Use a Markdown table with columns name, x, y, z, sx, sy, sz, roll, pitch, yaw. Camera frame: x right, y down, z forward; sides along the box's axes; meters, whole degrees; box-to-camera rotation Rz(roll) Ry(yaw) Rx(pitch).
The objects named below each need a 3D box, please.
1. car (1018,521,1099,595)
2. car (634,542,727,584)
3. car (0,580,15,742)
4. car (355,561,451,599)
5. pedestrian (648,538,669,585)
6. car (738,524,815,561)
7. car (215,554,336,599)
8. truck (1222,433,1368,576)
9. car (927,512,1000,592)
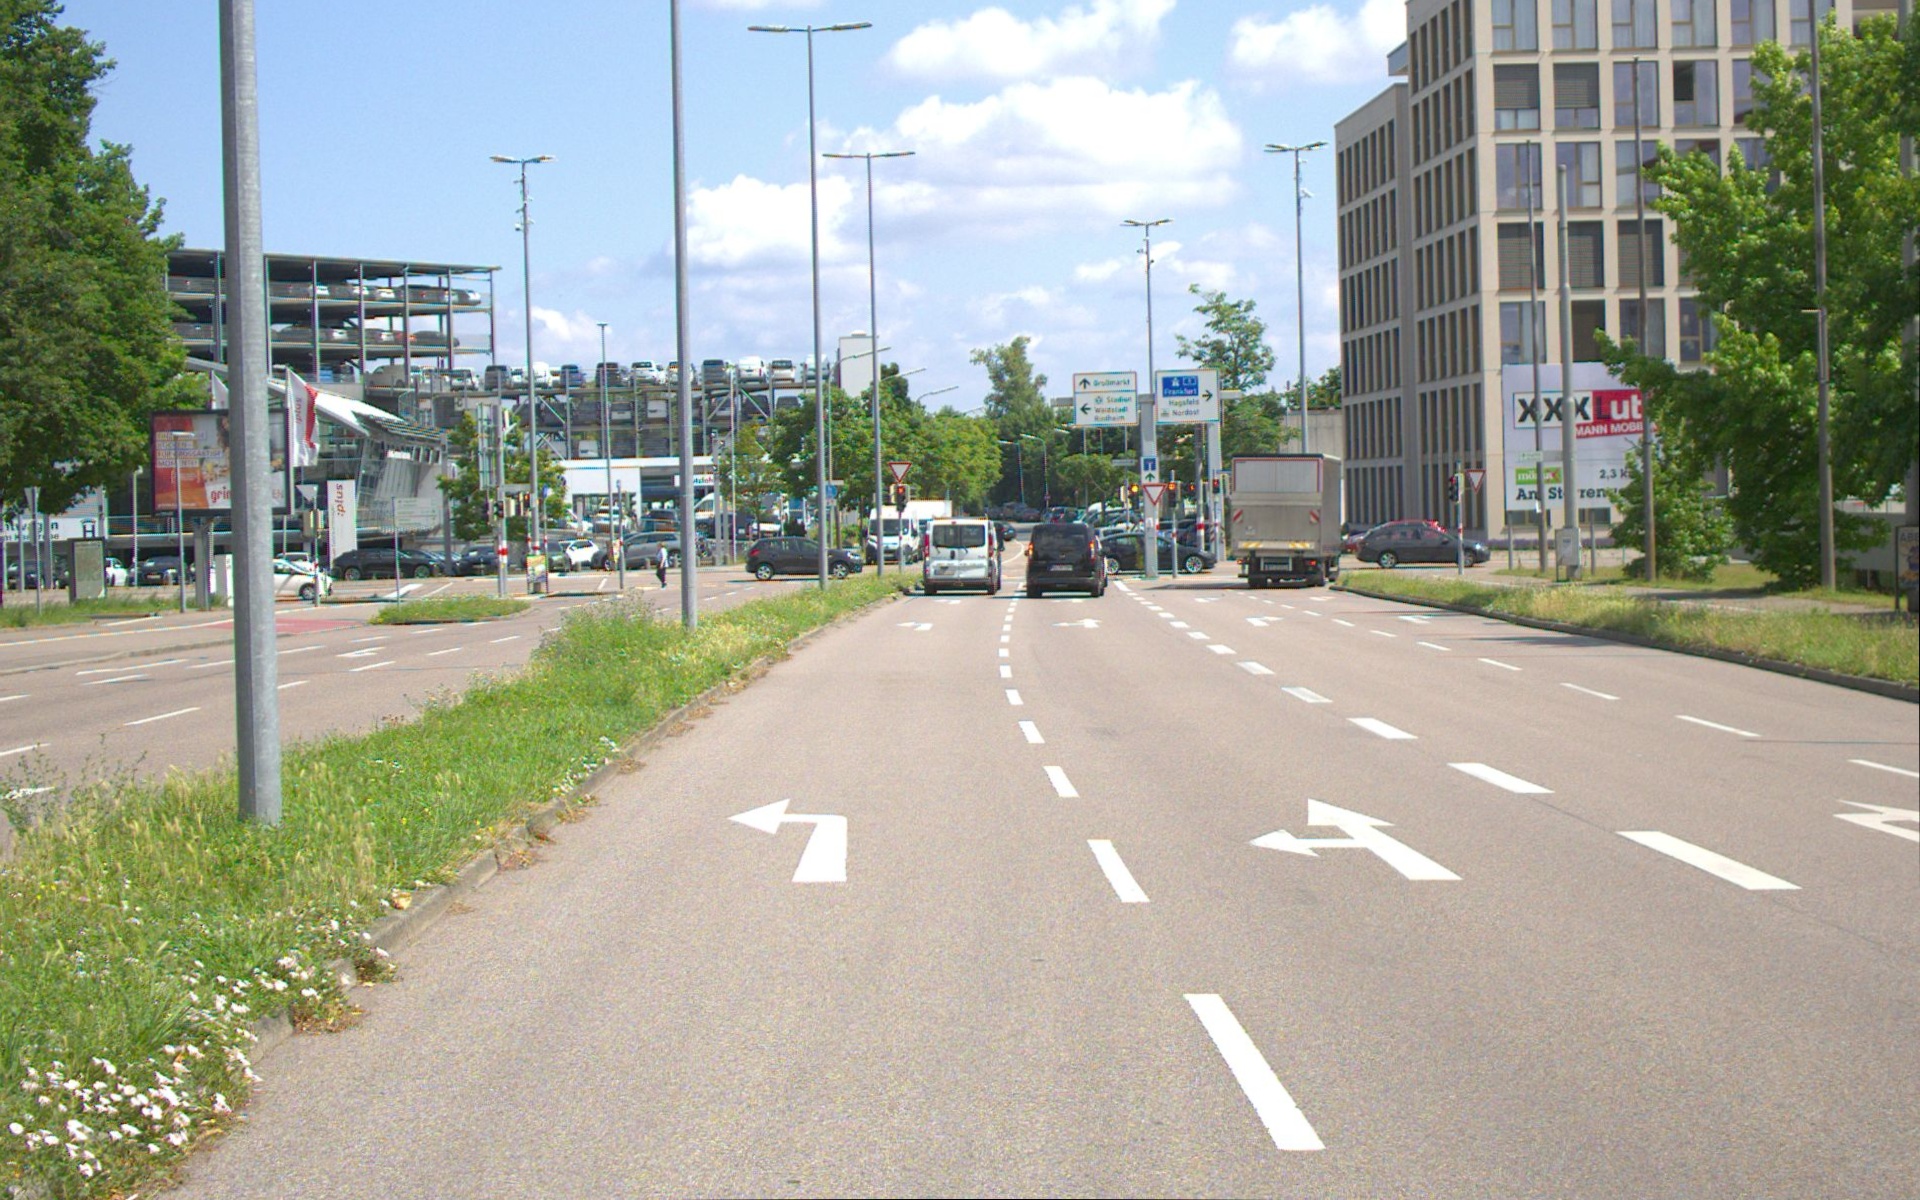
| name | x | y | z | sx | sy | sz | roll | pitch | yaw |
| --- | --- | --- | --- | --- | --- | --- | --- | --- | --- |
| car | 2.461 | -1.058 | 85.166 | 1.820 | 1.802 | 4.000 | 0 | 1 | 4 |
| car | -12.088 | -1.601 | 148.962 | 3.861 | 1.634 | 1.858 | -2 | 2 | -2 |
| car | -9.287 | 0.592 | 28.845 | 1.643 | 1.424 | 3.670 | -2 | 1 | 0 |
| car | -23.216 | -0.826 | 143.453 | 3.791 | 1.508 | 1.679 | -1 | 2 | -3 |
| pedestrian | -9.710 | -1.237 | 110.802 | 0.470 | 1.507 | 0.511 | 0 | 1 | 26 |
| car | -9.642 | -3.019 | 180.444 | 3.986 | 1.919 | 1.827 | 0 | 1 | -5 |
| car | -23.462 | -0.797 | 117.880 | 3.850 | 1.461 | 1.696 | -1 | 2 | -2 |
| truck | 9.769 | -2.773 | 99.446 | 3.131 | 3.927 | 8.854 | 0 | 2 | 12 |
| car | 0.075 | -1.275 | 89.950 | 1.856 | 2.011 | 4.000 | 0 | 2 | -1 |
